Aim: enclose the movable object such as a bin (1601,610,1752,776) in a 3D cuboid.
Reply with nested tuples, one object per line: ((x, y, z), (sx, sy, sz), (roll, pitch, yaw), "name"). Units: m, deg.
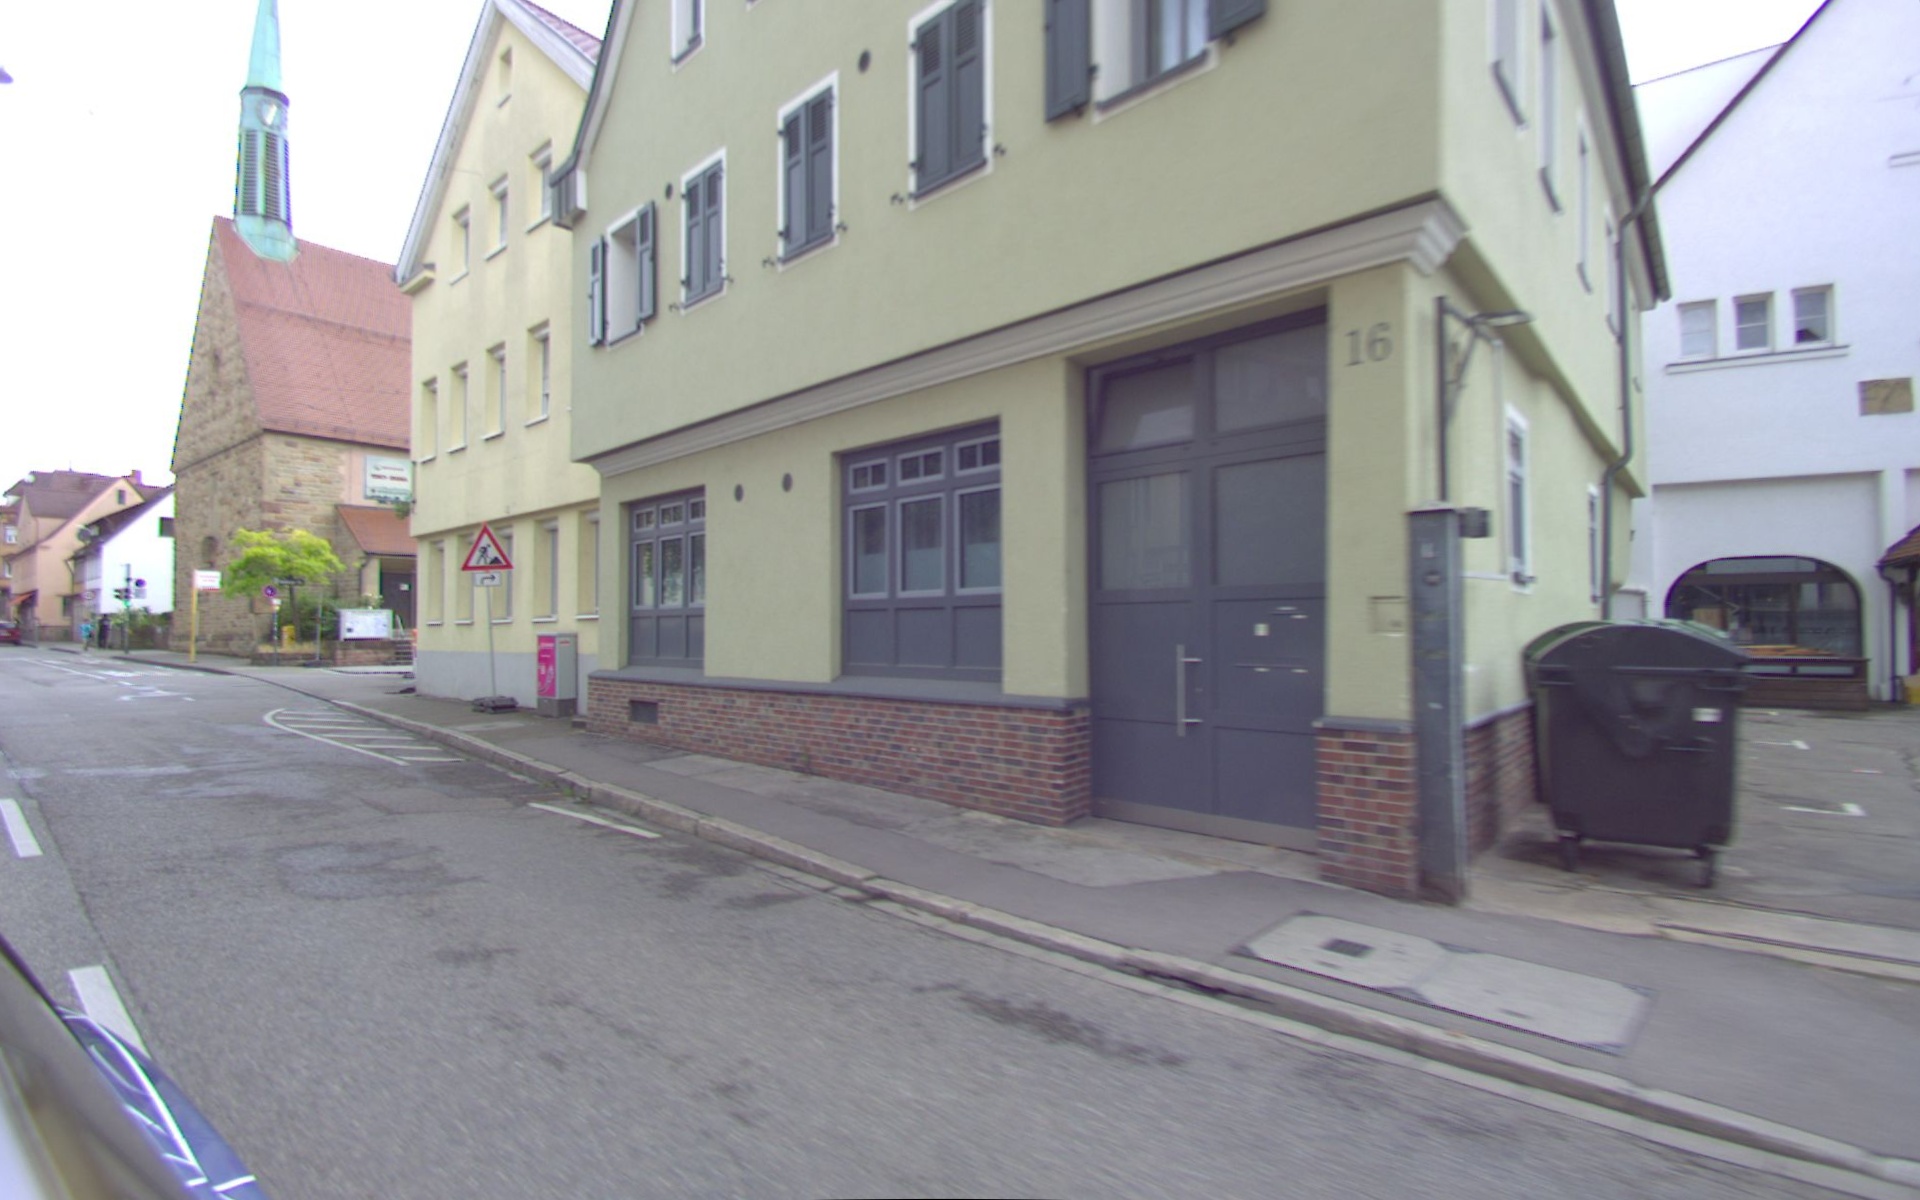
((7.129, 0.854, 10.056), (1.099, 1.462, 1.326), (2, 1, 40), "movable object such as a bin")

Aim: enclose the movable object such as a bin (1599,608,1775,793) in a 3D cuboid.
((6.389, 0.812, 8.878), (1.100, 1.460, 1.325), (-2, -2, 41), "movable object such as a bin")

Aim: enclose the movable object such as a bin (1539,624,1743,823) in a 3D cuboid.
((5.272, 0.875, 7.829), (1.228, 1.371, 1.060), (1, -2, -44), "movable object such as a bin")

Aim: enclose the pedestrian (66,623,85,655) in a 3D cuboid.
((-45.498, 2.020, 52.076), (0.711, 1.618, 0.629), (-1, -2, 43), "pedestrian")

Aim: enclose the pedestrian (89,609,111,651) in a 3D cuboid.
((-44.716, 1.554, 52.635), (0.783, 2.138, 0.748), (-1, -2, 43), "pedestrian")

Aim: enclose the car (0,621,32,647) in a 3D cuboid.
((-63.050, 2.222, 66.793), (4.496, 1.690, 2.184), (-1, -2, 41), "car")

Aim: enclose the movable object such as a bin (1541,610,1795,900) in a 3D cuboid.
((4.154, 0.809, 6.041), (1.097, 1.487, 1.297), (-1, -1, 33), "movable object such as a bin")
